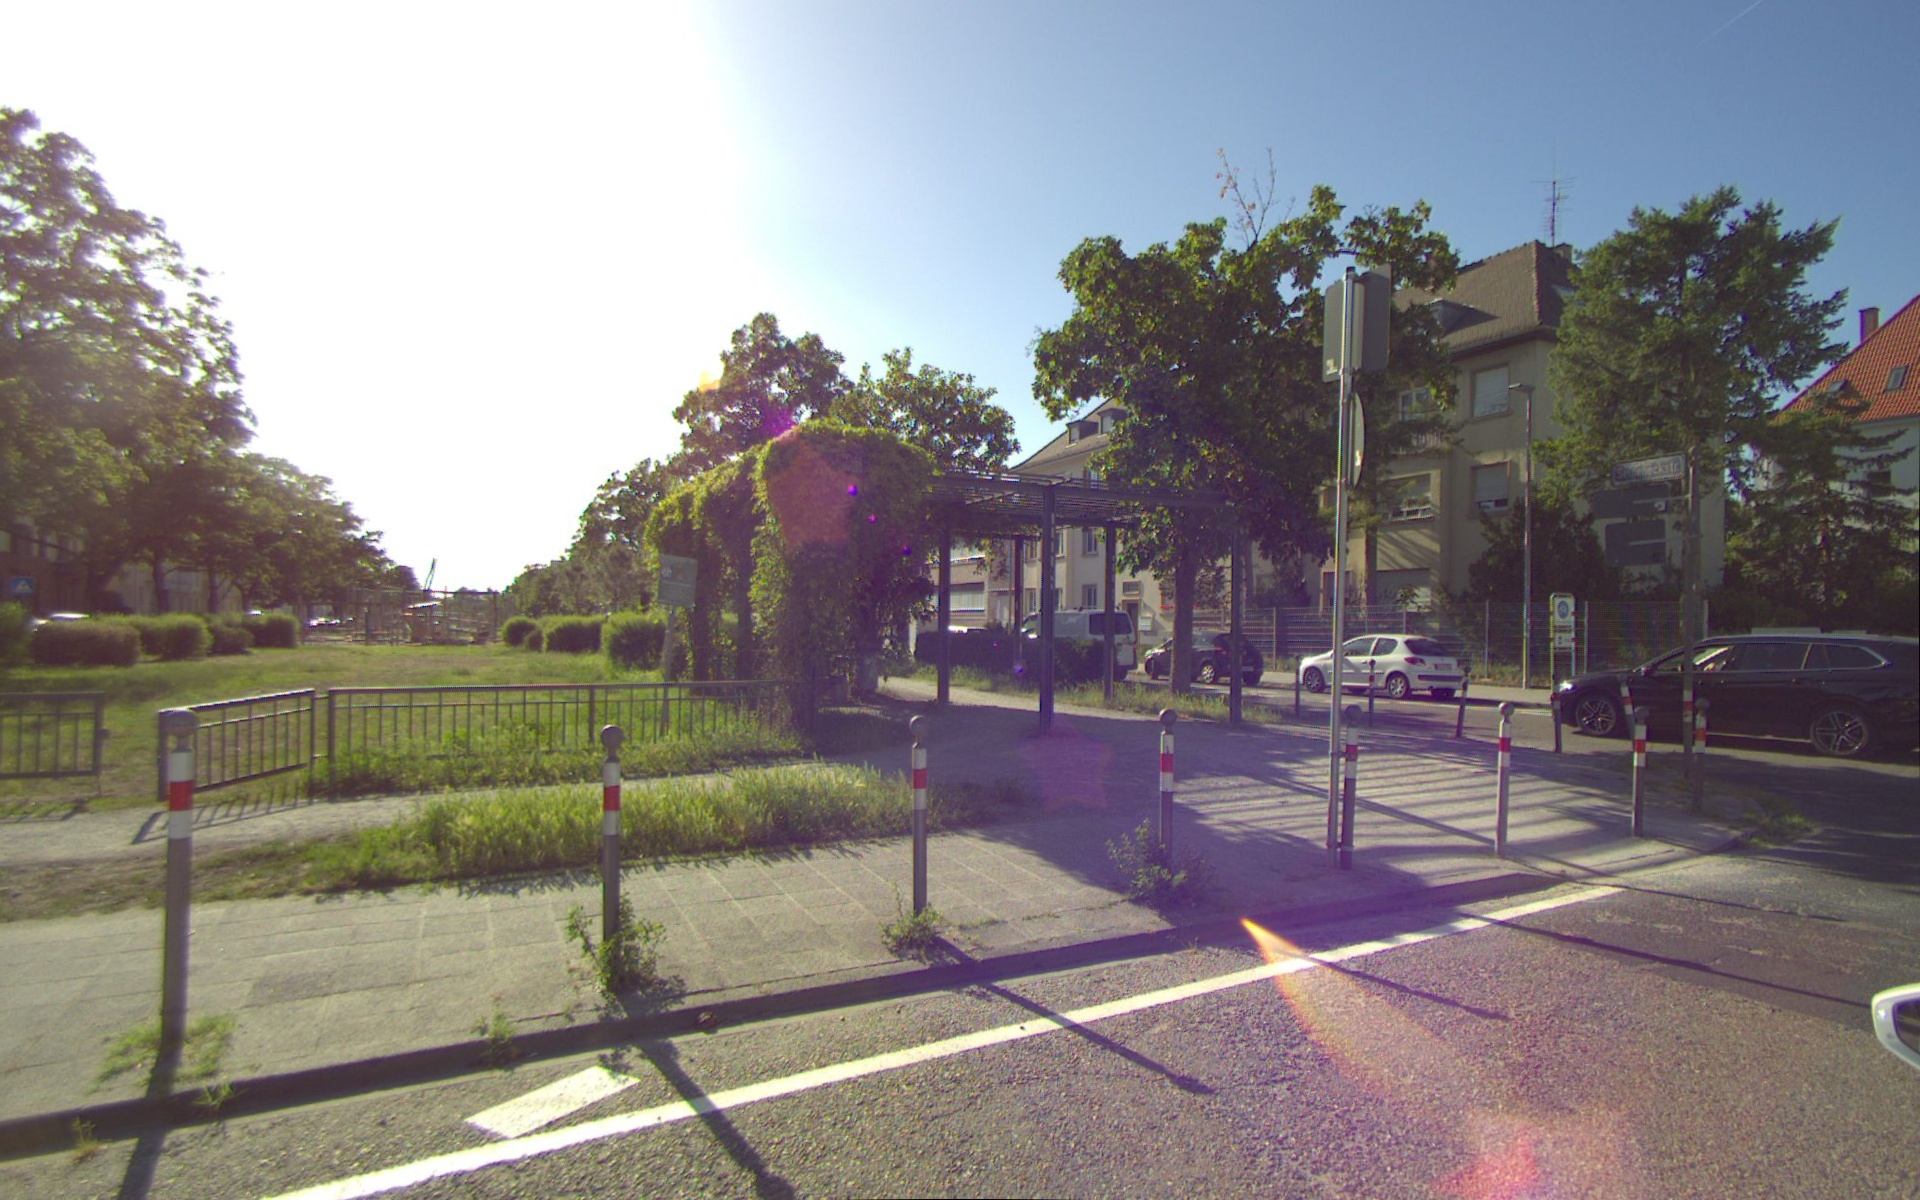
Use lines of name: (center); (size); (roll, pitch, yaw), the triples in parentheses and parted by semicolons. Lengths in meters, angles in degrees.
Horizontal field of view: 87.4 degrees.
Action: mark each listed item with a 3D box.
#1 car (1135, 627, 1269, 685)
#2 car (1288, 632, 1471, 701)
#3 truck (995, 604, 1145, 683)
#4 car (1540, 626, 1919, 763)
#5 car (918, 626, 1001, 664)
car: (6.814, 1.557, 28.637); (1.655, 1.514, 3.801); (2, -2, -26)
car: (9.640, 1.494, 23.365); (1.685, 1.416, 3.751); (2, -2, -27)
truck: (3.030, 1.210, 28.821); (1.974, 2.063, 4.841); (1, -2, -27)
car: (10.756, 1.131, 13.592); (1.976, 1.545, 4.720); (1, -2, -29)
car: (-0.055, 1.909, 43.290); (1.781, 1.514, 3.967); (3, -2, -31)
